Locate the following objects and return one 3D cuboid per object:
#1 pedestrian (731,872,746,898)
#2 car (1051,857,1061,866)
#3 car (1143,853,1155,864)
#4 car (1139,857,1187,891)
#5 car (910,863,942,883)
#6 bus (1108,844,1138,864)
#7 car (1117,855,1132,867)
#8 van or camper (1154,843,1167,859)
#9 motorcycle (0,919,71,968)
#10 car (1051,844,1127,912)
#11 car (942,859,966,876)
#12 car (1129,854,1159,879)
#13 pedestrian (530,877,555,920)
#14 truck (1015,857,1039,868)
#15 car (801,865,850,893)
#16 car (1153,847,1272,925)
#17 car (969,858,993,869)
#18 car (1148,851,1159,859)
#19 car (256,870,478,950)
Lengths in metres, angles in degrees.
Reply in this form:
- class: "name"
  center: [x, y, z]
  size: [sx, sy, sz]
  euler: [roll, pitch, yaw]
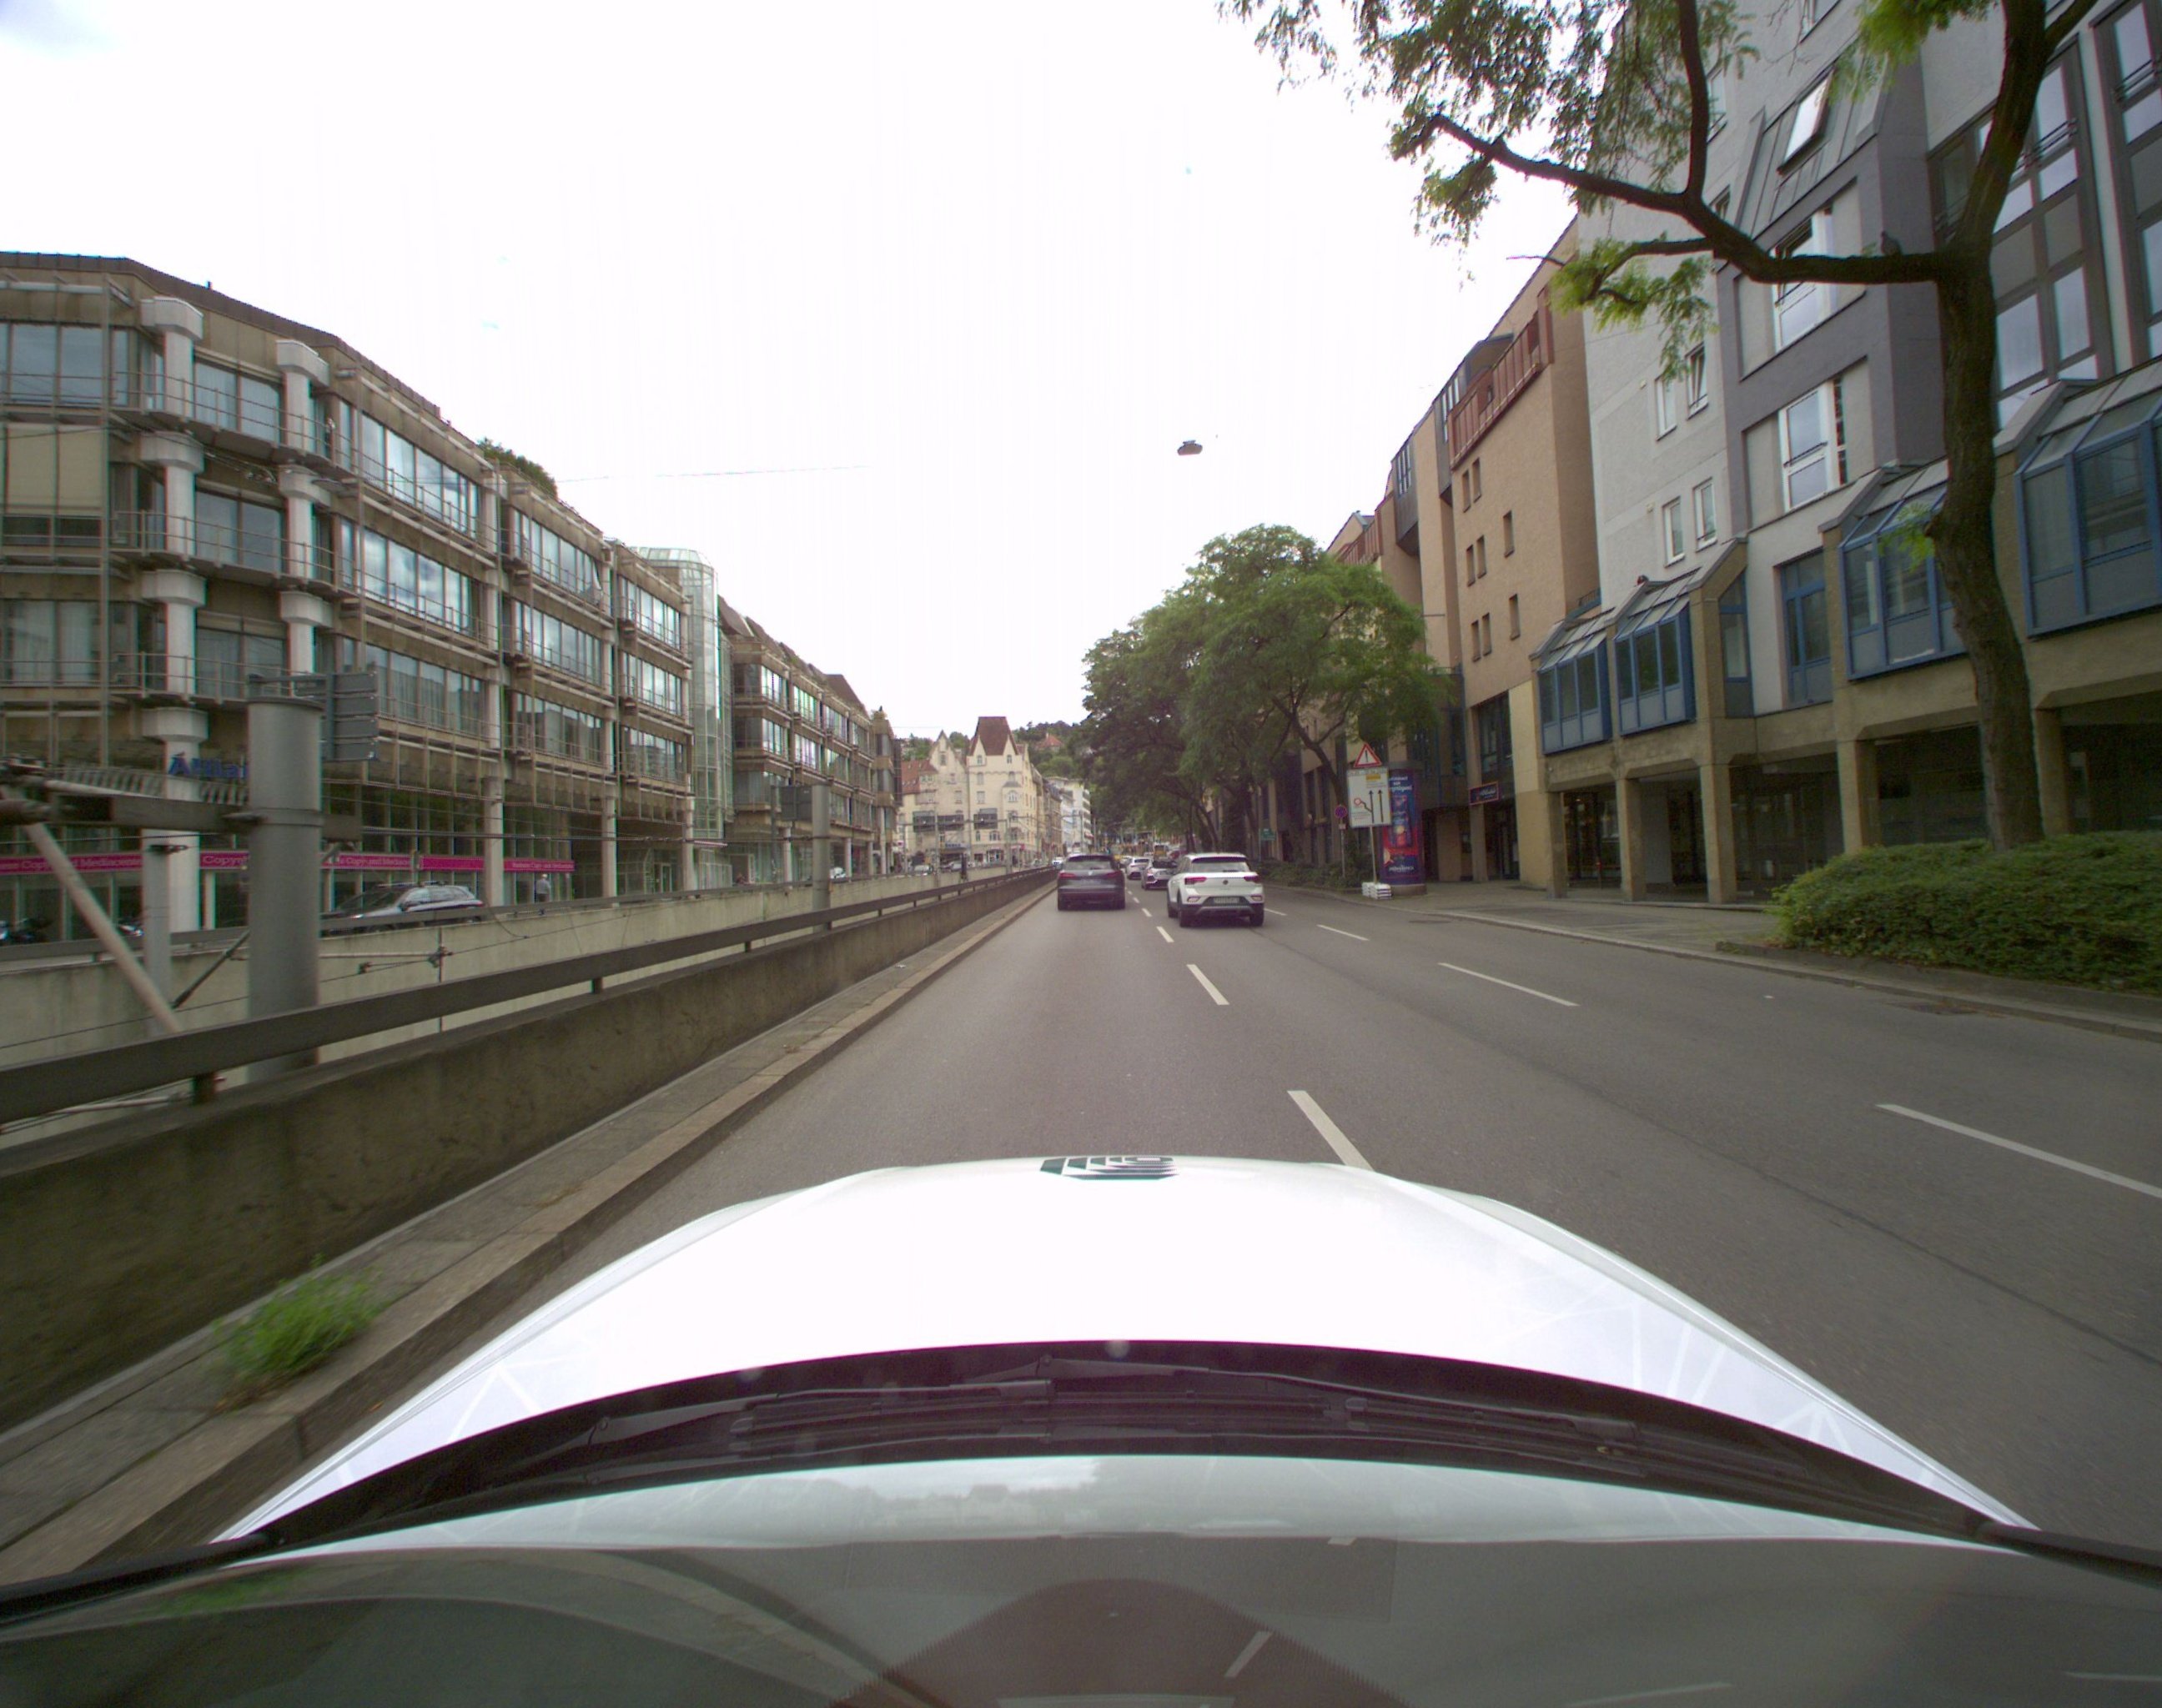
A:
- class: "pedestrian"
  center: [-24.867, 2.229, 59.134]
  size: [0.773, 1.824, 0.711]
  euler: [-3, 0, -8]
- class: "car"
  center: [-4.833, 1.360, 156.031]
  size: [1.814, 1.647, 3.996]
  euler: [-3, 0, -2]
- class: "car"
  center: [12.043, 0.839, 144.214]
  size: [1.824, 1.874, 4.874]
  euler: [-4, -1, 3]
- class: "car"
  center: [3.727, 0.884, 37.594]
  size: [1.827, 1.432, 4.148]
  euler: [-2, 0, 1]
- class: "car"
  center: [-14.579, 1.740, 76.947]
  size: [1.986, 1.684, 4.003]
  euler: [-3, 0, 2]
- class: "bus"
  center: [8.275, -0.015, 157.545]
  size: [3.827, 3.532, 17.289]
  euler: [-3, 0, 9]
- class: "car"
  center: [5.944, 0.965, 112.422]
  size: [1.825, 1.567, 3.768]
  euler: [-4, -1, 1]
- class: "van or camper"
  center: [17.347, -0.625, 177.472]
  size: [2.614, 3.178, 5.813]
  euler: [-3, 0, 6]
- class: "motorcycle"
  center: [-31.154, 2.628, 23.907]
  size: [0.792, 1.257, 1.931]
  euler: [-2, 0, -11]
- class: "car"
  center: [0.214, 0.639, 24.394]
  size: [1.964, 1.695, 4.224]
  euler: [-4, 1, 0]
- class: "car"
  center: [-14.296, 1.518, 91.869]
  size: [1.986, 1.768, 4.001]
  euler: [-3, 0, 1]
- class: "car"
  center: [4.180, 0.821, 54.469]
  size: [1.824, 1.517, 3.770]
  euler: [-4, -1, 3]
- class: "pedestrian"
  center: [-23.475, 1.942, 35.511]
  size: [0.530, 1.793, 0.695]
  euler: [-3, 0, 2]
- class: "truck"
  center: [-8.986, 1.473, 135.981]
  size: [2.087, 1.647, 4.824]
  euler: [-3, 0, 23]
- class: "car"
  center: [-18.026, 1.743, 57.660]
  size: [1.986, 1.768, 4.281]
  euler: [-3, 0, 1]
- class: "car"
  center: [2.850, 0.678, 18.472]
  size: [1.794, 1.545, 3.929]
  euler: [-1, -1, -4]
- class: "car"
  center: [-17.159, 1.615, 139.827]
  size: [3.985, 1.647, 1.819]
  euler: [-3, 0, -9]
- class: "car"
  center: [14.054, 0.165, 157.041]
  size: [1.833, 1.469, 4.008]
  euler: [-3, 0, 7]
- class: "car"
  center: [-18.741, 1.389, 21.706]
  size: [1.986, 1.768, 4.281]
  euler: [-3, 0, 1]
